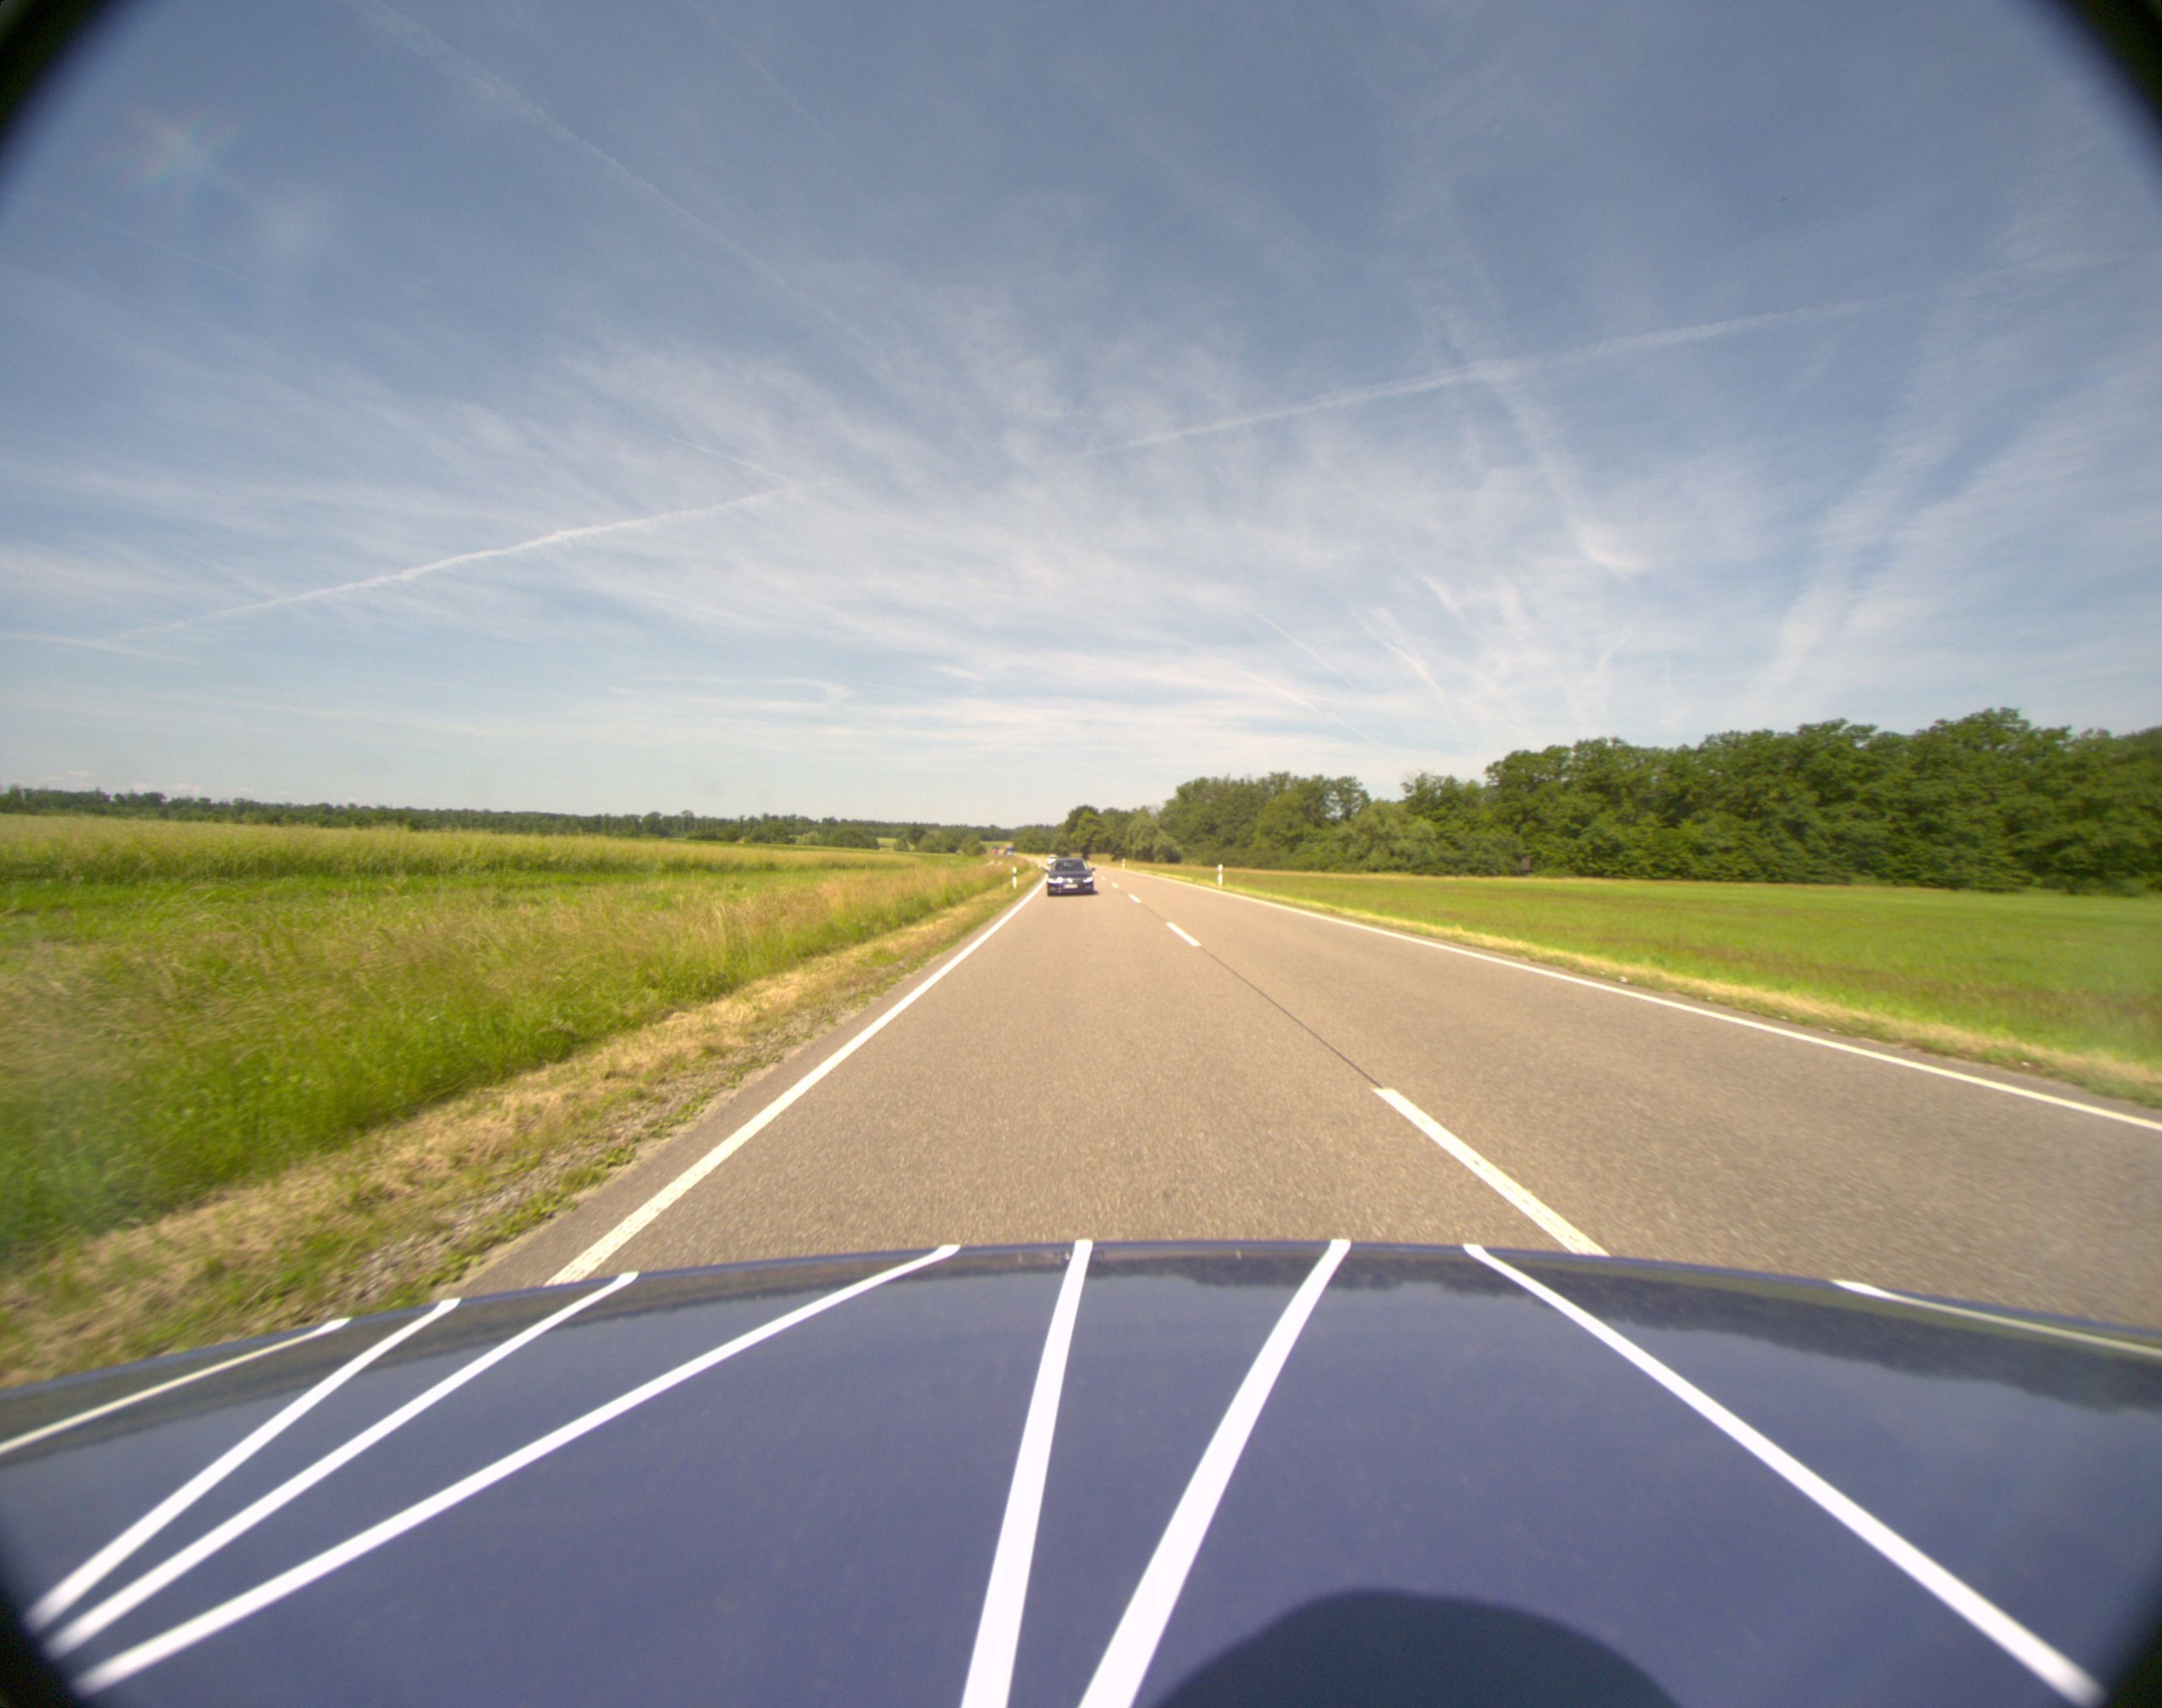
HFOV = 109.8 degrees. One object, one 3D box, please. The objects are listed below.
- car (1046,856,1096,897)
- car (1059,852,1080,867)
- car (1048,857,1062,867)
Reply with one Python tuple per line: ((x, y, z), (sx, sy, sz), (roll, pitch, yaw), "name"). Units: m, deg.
((-0.396, 0.855, 31.059), (1.822, 1.501, 4.500), (-2, 0, -1), "car")
((-1.271, 0.575, 80.582), (1.929, 1.501, 4.289), (-1, 0, -4), "car")
((-3.985, 1.184, 115.928), (1.929, 1.501, 4.290), (1, 0, -3), "car")
